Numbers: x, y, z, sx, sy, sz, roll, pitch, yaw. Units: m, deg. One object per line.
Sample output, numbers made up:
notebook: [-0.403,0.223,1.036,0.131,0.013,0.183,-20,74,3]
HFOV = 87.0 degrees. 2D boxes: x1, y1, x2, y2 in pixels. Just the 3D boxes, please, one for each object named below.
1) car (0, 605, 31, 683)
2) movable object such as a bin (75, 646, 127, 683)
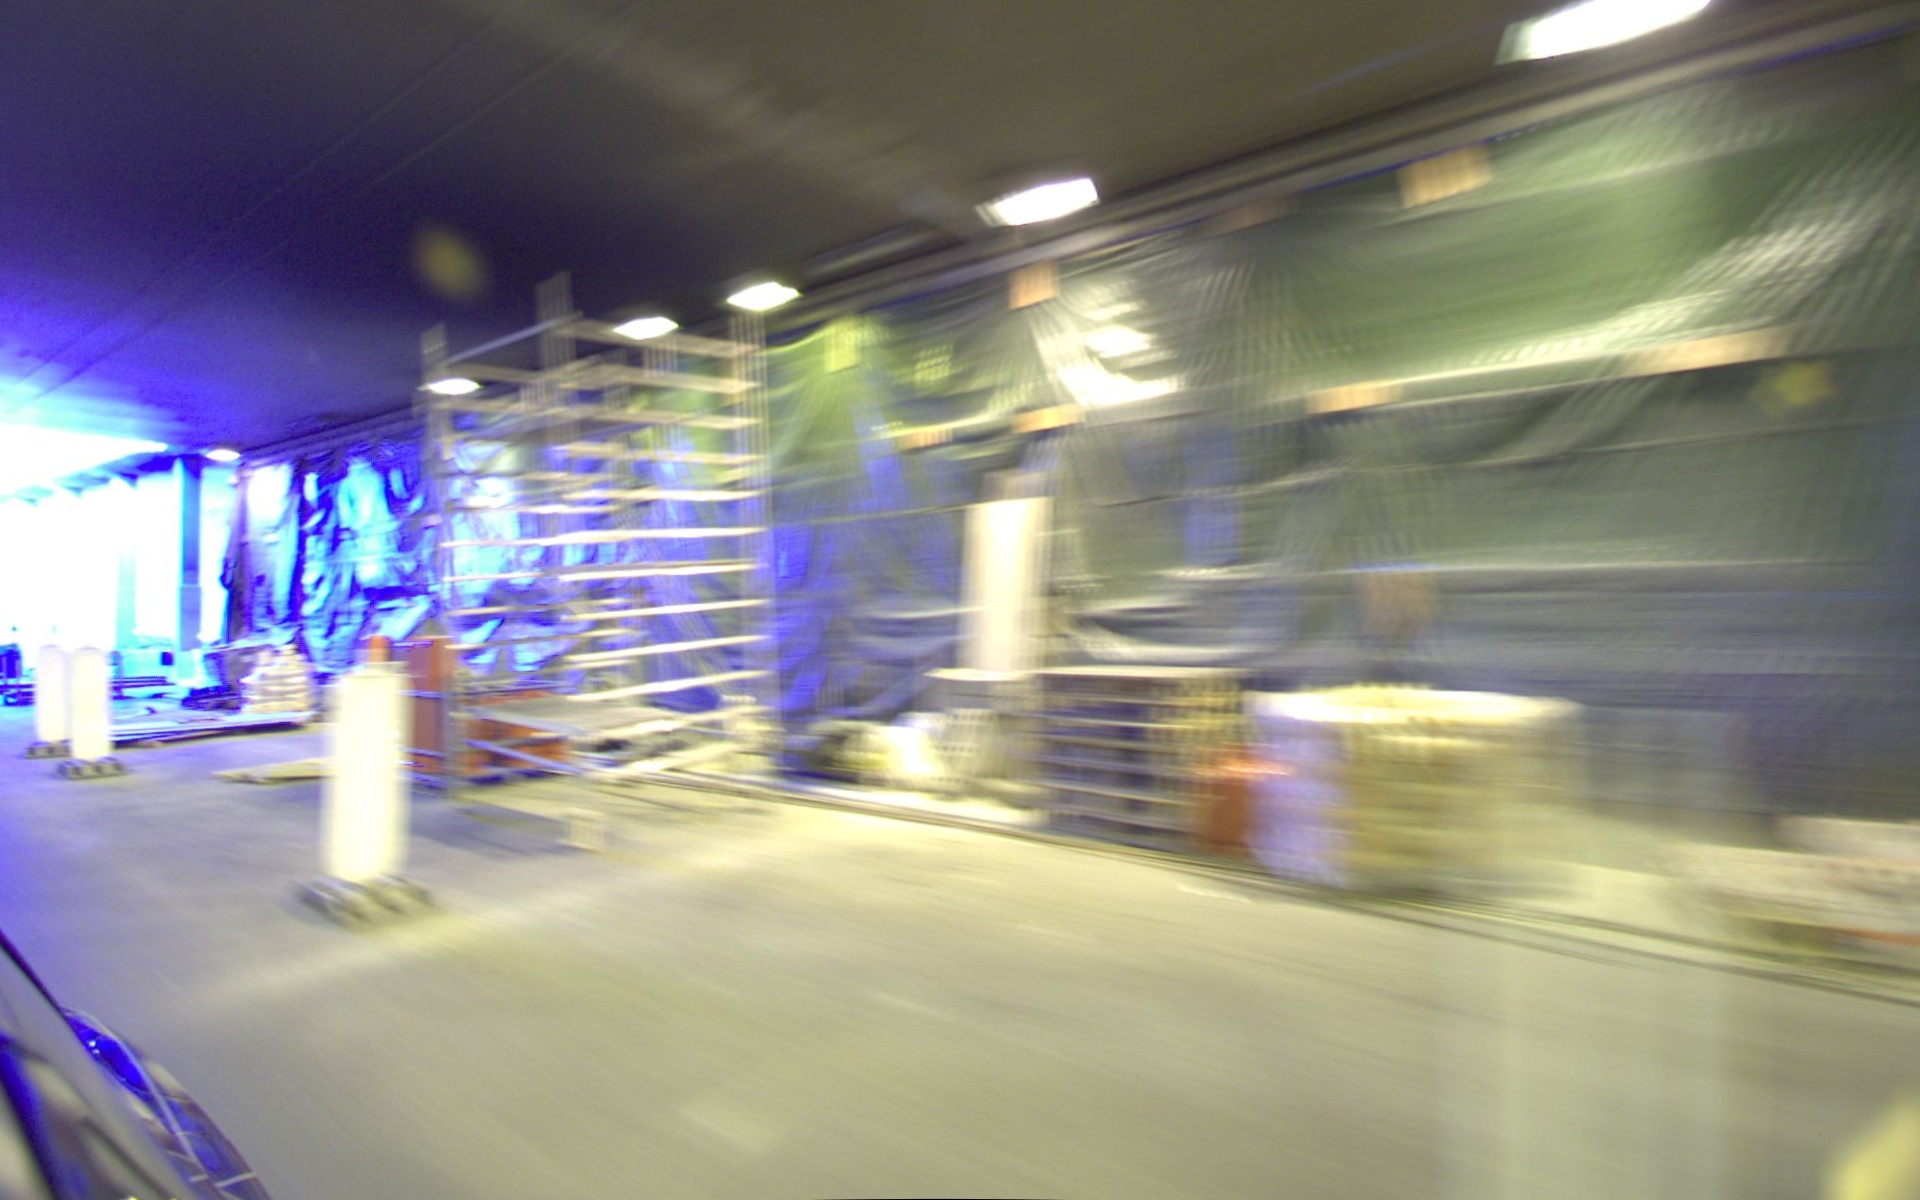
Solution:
car: [-23.969,1.006,24.086,4.424,1.789,1.832,0,0,35]
movable object such as a bin: [-19.538,1.454,23.019,1.029,0.747,0.646,1,0,34]
